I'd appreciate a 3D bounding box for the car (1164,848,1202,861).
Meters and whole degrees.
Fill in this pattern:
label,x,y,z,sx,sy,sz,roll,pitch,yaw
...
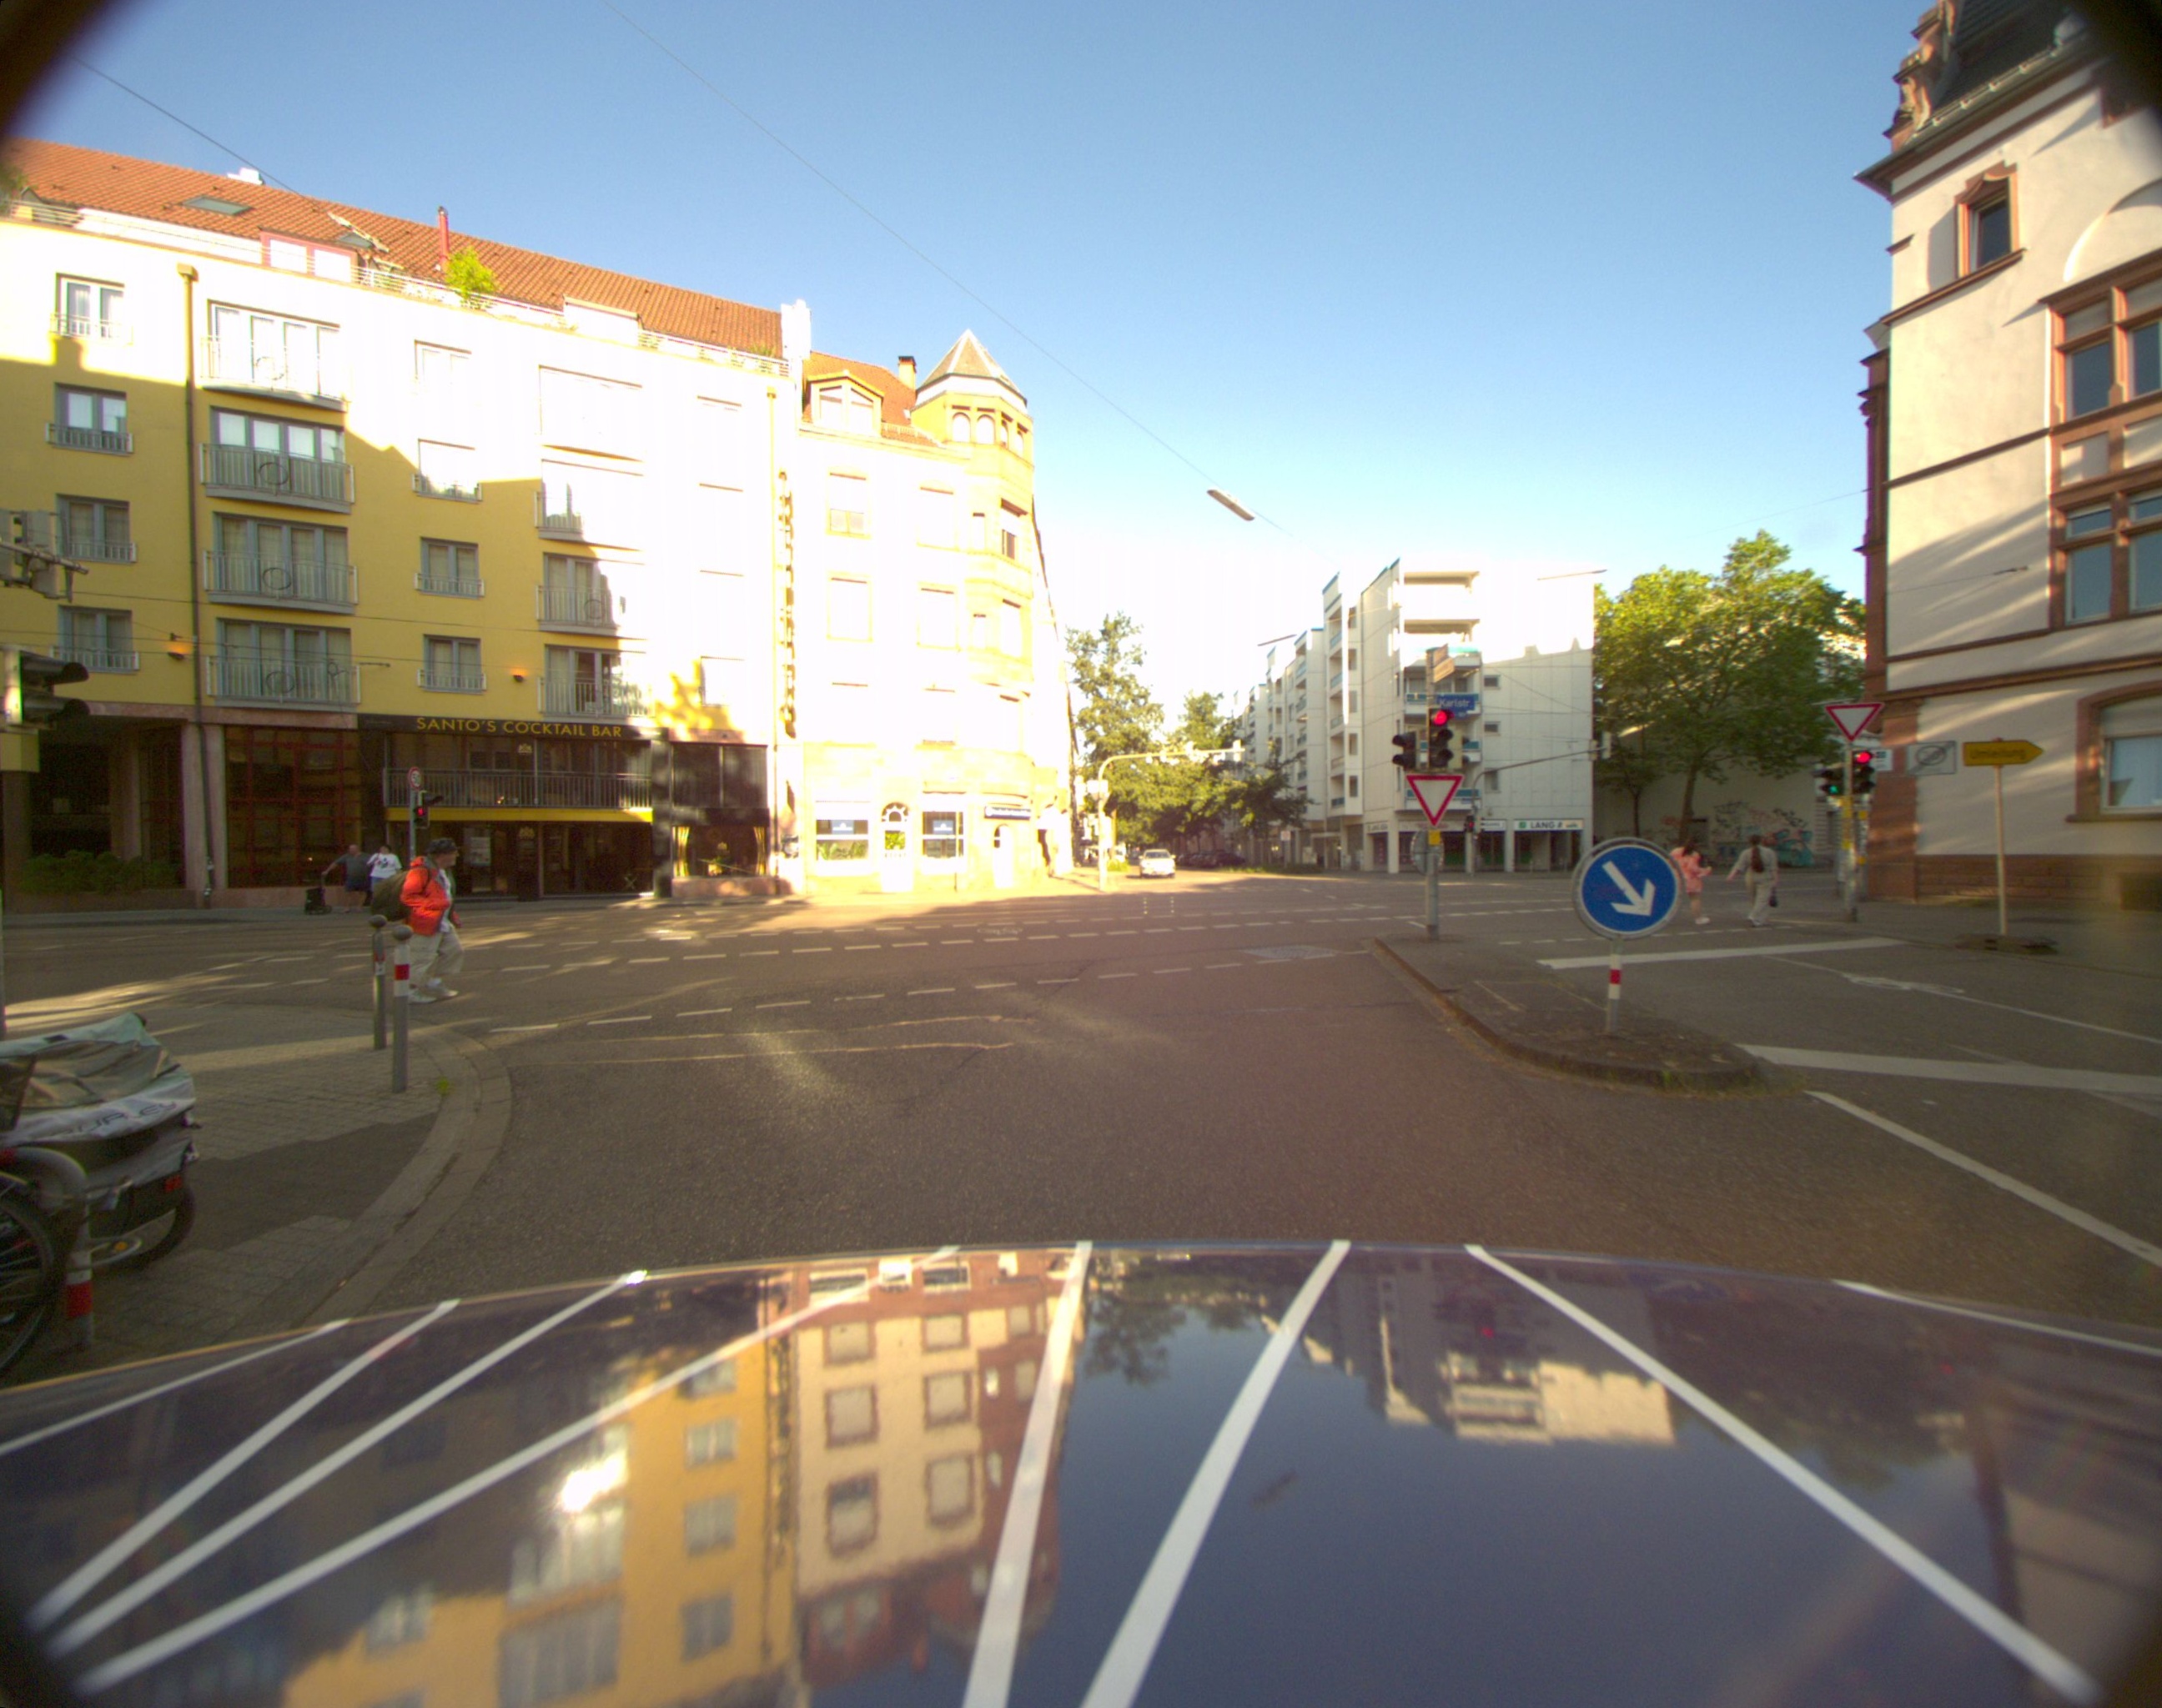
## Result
label,x,y,z,sx,sy,sz,roll,pitch,yaw
car,12.770,0.112,95.377,4.303,1.576,1.999,0,1,-5

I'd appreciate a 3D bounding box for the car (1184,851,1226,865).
label,x,y,z,sx,sy,sz,roll,pitch,yaw
car,13.822,0.427,84.849,4.303,1.576,1.999,0,1,-5

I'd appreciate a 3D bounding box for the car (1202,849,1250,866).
label,x,y,z,sx,sy,sz,roll,pitch,yaw
car,13.576,0.287,71.296,3.999,1.576,1.999,0,1,-7

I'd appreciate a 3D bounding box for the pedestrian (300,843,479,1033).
label,x,y,z,sx,sy,sz,roll,pitch,yaw
pedestrian,-6.665,0.736,7.424,1.176,1.670,1.005,-1,1,-37

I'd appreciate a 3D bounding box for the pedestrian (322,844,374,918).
label,x,y,z,sx,sy,sz,roll,pitch,yaw
pedestrian,-19.017,0.682,19.730,0.680,1.831,0.725,-1,4,-21

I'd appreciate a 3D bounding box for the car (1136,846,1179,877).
label,x,y,z,sx,sy,sz,roll,pitch,yaw
car,4.355,0.397,43.774,1.999,1.740,3.999,0,1,-1

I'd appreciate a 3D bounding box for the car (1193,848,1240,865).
label,x,y,z,sx,sy,sz,roll,pitch,yaw
car,13.581,0.248,76.332,4.304,1.576,1.999,0,1,-7

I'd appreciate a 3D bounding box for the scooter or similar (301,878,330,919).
label,x,y,z,sx,sy,sz,roll,pitch,yaw
scooter or similar,-19.418,1.127,19.277,0.357,0.972,0.422,-1,5,-23

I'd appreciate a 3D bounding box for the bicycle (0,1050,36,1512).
label,x,y,z,sx,sy,sz,roll,pitch,yaw
bicycle,-3.358,1.105,1.495,0.423,1.087,1.481,4,2,44

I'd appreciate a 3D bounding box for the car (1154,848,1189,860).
label,x,y,z,sx,sy,sz,roll,pitch,yaw
car,12.221,0.012,102.796,4.303,1.576,1.999,0,1,-5

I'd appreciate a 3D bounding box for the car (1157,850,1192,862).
label,x,y,z,sx,sy,sz,roll,pitch,yaw
car,12.201,0.239,99.354,4.303,1.576,1.999,0,1,-5

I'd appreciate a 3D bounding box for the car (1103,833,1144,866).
label,x,y,z,sx,sy,sz,roll,pitch,yaw
car,4.284,-0.479,78.628,3.325,3.160,8.079,0,0,-4

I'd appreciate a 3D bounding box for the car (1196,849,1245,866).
label,x,y,z,sx,sy,sz,roll,pitch,yaw
car,13.495,0.367,73.744,4.304,1.576,1.999,0,1,-7

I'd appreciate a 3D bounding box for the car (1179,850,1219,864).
label,x,y,z,sx,sy,sz,roll,pitch,yaw
car,13.657,0.328,88.130,4.303,1.576,1.999,0,1,-5

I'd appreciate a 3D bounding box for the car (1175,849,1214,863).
label,x,y,z,sx,sy,sz,roll,pitch,yaw
car,13.476,0.255,90.534,4.303,1.576,1.999,0,1,-5

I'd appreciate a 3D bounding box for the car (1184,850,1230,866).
label,x,y,z,sx,sy,sz,roll,pitch,yaw
car,13.064,0.388,78.720,4.304,1.576,1.999,0,1,-7

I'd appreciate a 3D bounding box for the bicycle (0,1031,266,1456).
label,x,y,z,sx,sy,sz,roll,pitch,yaw
bicycle,-3.529,1.183,2.426,0.999,1.021,0.738,-1,1,-8

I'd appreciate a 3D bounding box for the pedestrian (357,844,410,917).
label,x,y,z,sx,sy,sz,roll,pitch,yaw
pedestrian,-18.161,0.670,19.814,0.736,1.831,0.725,-1,4,-21

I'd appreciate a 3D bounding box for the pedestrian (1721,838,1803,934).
label,x,y,z,sx,sy,sz,roll,pitch,yaw
pedestrian,12.431,0.561,13.904,0.867,1.688,0.986,0,1,26

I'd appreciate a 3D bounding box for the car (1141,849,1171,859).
label,x,y,z,sx,sy,sz,roll,pitch,yaw
car,11.601,0.011,117.815,4.303,1.576,1.999,0,1,-5

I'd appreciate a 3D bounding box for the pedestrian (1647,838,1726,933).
label,x,y,z,sx,sy,sz,roll,pitch,yaw
pedestrian,11.286,0.559,14.179,0.986,1.688,0.867,-1,1,-32
